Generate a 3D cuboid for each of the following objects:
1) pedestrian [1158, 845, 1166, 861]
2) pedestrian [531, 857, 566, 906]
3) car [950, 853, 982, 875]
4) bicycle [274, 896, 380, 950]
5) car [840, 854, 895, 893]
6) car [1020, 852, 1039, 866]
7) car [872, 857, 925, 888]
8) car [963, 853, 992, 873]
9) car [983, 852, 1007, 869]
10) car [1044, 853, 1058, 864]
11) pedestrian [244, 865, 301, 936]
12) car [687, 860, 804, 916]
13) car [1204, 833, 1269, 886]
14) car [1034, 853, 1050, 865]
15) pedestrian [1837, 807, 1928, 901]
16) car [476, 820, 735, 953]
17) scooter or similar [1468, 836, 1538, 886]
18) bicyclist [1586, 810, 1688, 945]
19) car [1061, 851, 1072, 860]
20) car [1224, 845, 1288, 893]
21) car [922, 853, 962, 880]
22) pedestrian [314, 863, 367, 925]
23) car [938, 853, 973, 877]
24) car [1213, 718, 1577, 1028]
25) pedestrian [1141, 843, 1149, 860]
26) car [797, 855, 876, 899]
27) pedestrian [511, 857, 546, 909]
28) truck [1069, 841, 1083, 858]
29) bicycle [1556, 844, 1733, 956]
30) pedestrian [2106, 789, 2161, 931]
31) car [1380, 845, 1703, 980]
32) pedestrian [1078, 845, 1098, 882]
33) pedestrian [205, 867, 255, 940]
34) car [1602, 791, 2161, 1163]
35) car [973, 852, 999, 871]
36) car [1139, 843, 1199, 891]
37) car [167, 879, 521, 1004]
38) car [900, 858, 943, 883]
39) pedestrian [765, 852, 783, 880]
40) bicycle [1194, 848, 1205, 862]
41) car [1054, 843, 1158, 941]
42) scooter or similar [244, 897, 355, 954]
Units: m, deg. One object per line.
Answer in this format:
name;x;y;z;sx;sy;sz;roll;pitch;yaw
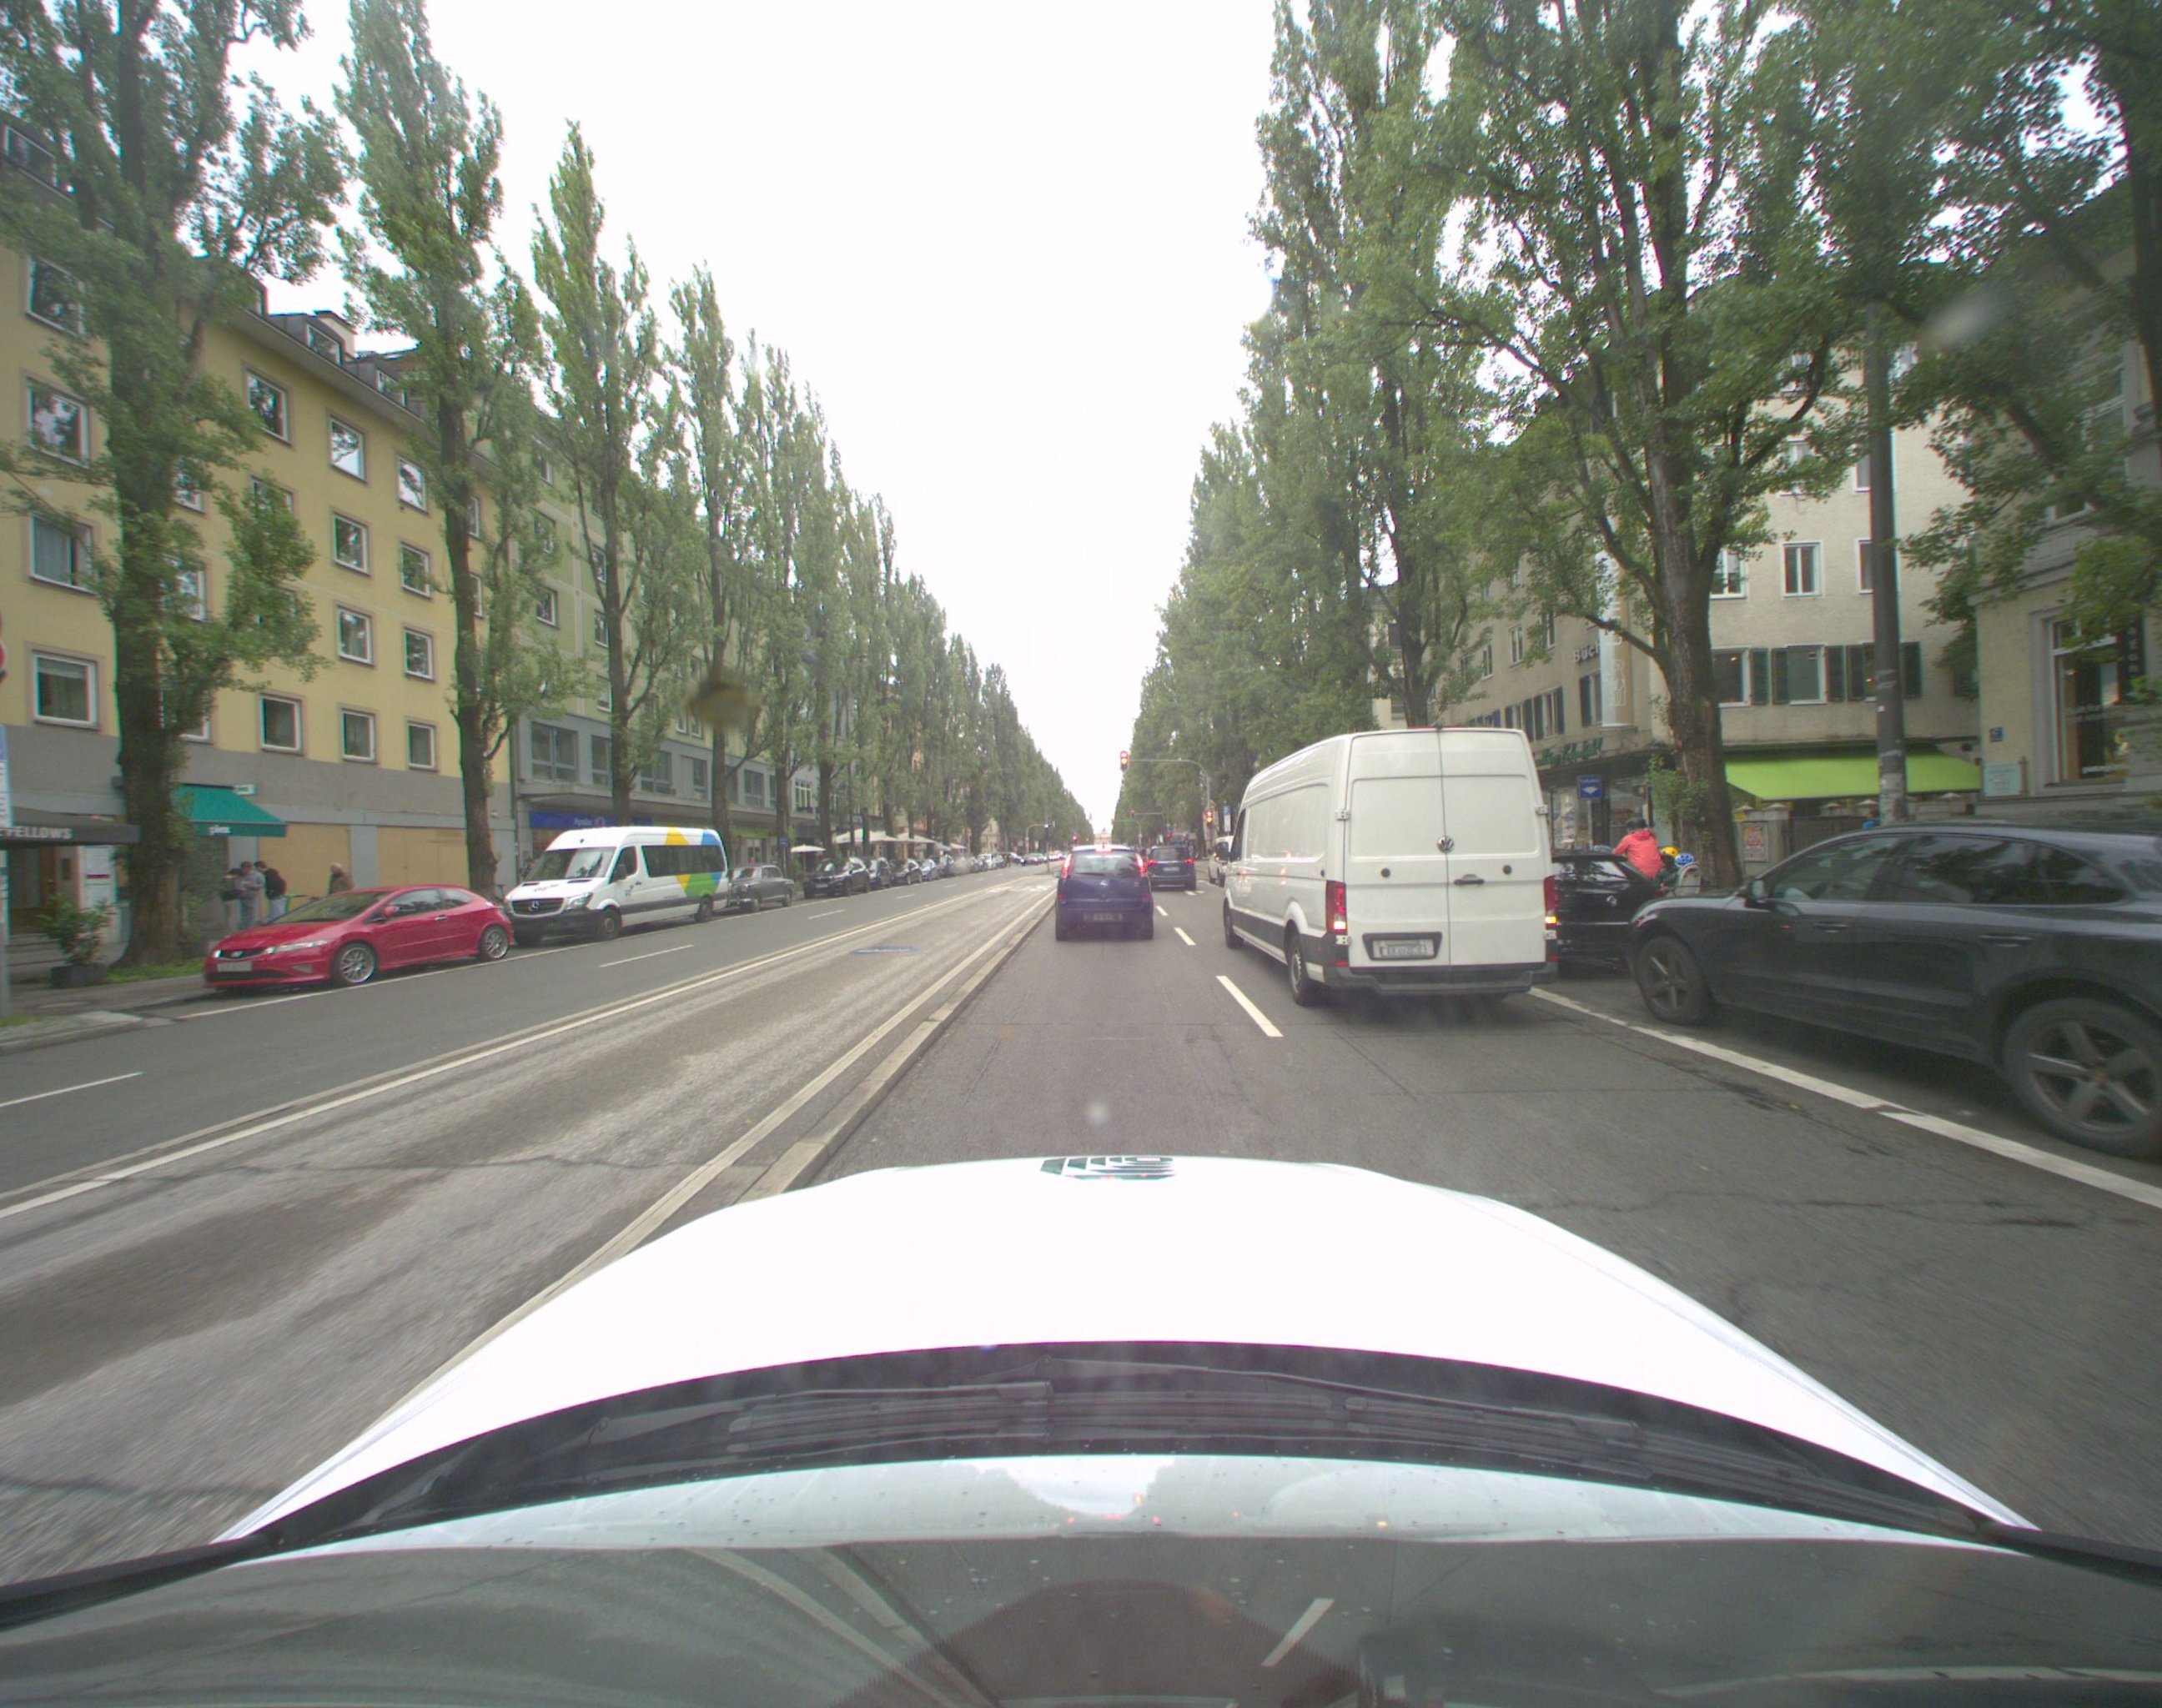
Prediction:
pedestrian;9.104;-0.121;91.685;0.636;1.827;0.885;0;-1;-8
pedestrian;-19.128;0.992;29.258;0.694;1.700;0.728;-2;0;6
car;-9.659;0.812;68.595;1.859;1.665;4.122;-4;0;1
bicycle;-15.929;1.451;17.218;1.768;1.026;0.421;-3;0;-2
car;-10.639;0.932;40.806;1.705;1.721;3.920;-4;0;-1
car;-6.123;0.549;97.324;1.691;1.462;4.714;-4;0;2
car;-10.260;1.005;46.124;1.792;1.488;4.352;-4;0;1
car;-9.400;0.773;74.120;1.859;1.665;4.122;-4;0;1
car;-9.116;0.683;86.659;1.859;1.665;4.122;-4;0;1
car;-4.716;0.650;128.944;1.859;1.665;4.122;-2;0;1
pedestrian;-19.271;1.103;19.423;0.691;1.636;0.731;-2;0;26
car;-11.001;1.052;27.093;1.859;1.552;4.416;-4;0;1
car;6.139;0.195;32.703;1.781;1.946;4.732;-2;0;1
car;-5.114;0.599;106.411;1.739;1.434;4.131;-4;0;1
pedestrian;14.813;-0.003;15.074;0.794;1.677;0.877;-2;0;2
car;-11.127;0.642;19.992;1.998;2.567;6.914;-4;0;2
scooter or similar;12.364;0.171;23.957;0.634;1.376;2.493;-3;1;-2
bicyclist;7.682;0.312;11.295;0.764;1.766;0.885;-2;0;1
car;-2.354;0.224;133.595;1.728;1.465;3.366;-2;0;1
car;5.919;0.473;27.898;1.535;1.492;3.525;-1;0;2
car;-9.795;0.865;57.589;1.859;1.665;4.402;-4;0;1
pedestrian;-20.252;1.081;22.277;0.694;1.636;0.727;-2;0;4
car;-9.739;0.828;63.533;1.859;1.665;4.122;-4;0;1
car;3.104;0.135;10.008;2.055;2.492;6.733;-1;0;2
pedestrian;6.795;-0.303;86.811;0.719;1.827;0.885;0;-1;-8
car;-10.549;0.950;35.526;1.859;1.664;4.612;-4;0;2
pedestrian;-19.898;1.034;29.338;0.694;1.795;0.728;-2;0;6
truck;-0.959;-0.867;163.083;2.374;3.346;7.113;-2;0;2
bicycle;7.684;0.564;11.301;0.770;1.349;2.450;-2;0;1
pedestrian;13.187;0.058;9.780;0.801;1.677;0.871;-2;0;-22
car;5.701;0.607;10.827;1.705;1.393;4.340;-1;0;-2
pedestrian;0.338;0.439;37.767;0.857;1.684;0.626;-2;0;-2
pedestrian;-19.883;1.146;19.038;0.691;1.636;0.567;-2;0;25
car;5.656;0.525;5.211;1.797;1.637;4.447;-1;0;0
car;-9.235;0.721;79.382;1.859;1.665;4.122;-4;0;1
car;3.205;0.445;30.401;1.889;1.622;4.002;-1;0;2
car;-11.345;1.244;13.036;1.731;1.419;4.150;-4;0;1
car;-10.067;1.012;51.784;1.727;1.425;4.145;-4;0;1
pedestrian;-18.903;0.724;50.142;0.753;1.686;0.675;-3;-1;2
bicycle;12.135;0.077;83.464;0.770;1.349;2.450;-2;0;1
car;0.477;0.604;15.257;1.665;1.568;4.002;-1;0;2
scooter or similar;-15.894;1.448;16.580;1.768;1.026;0.421;-3;0;-2
